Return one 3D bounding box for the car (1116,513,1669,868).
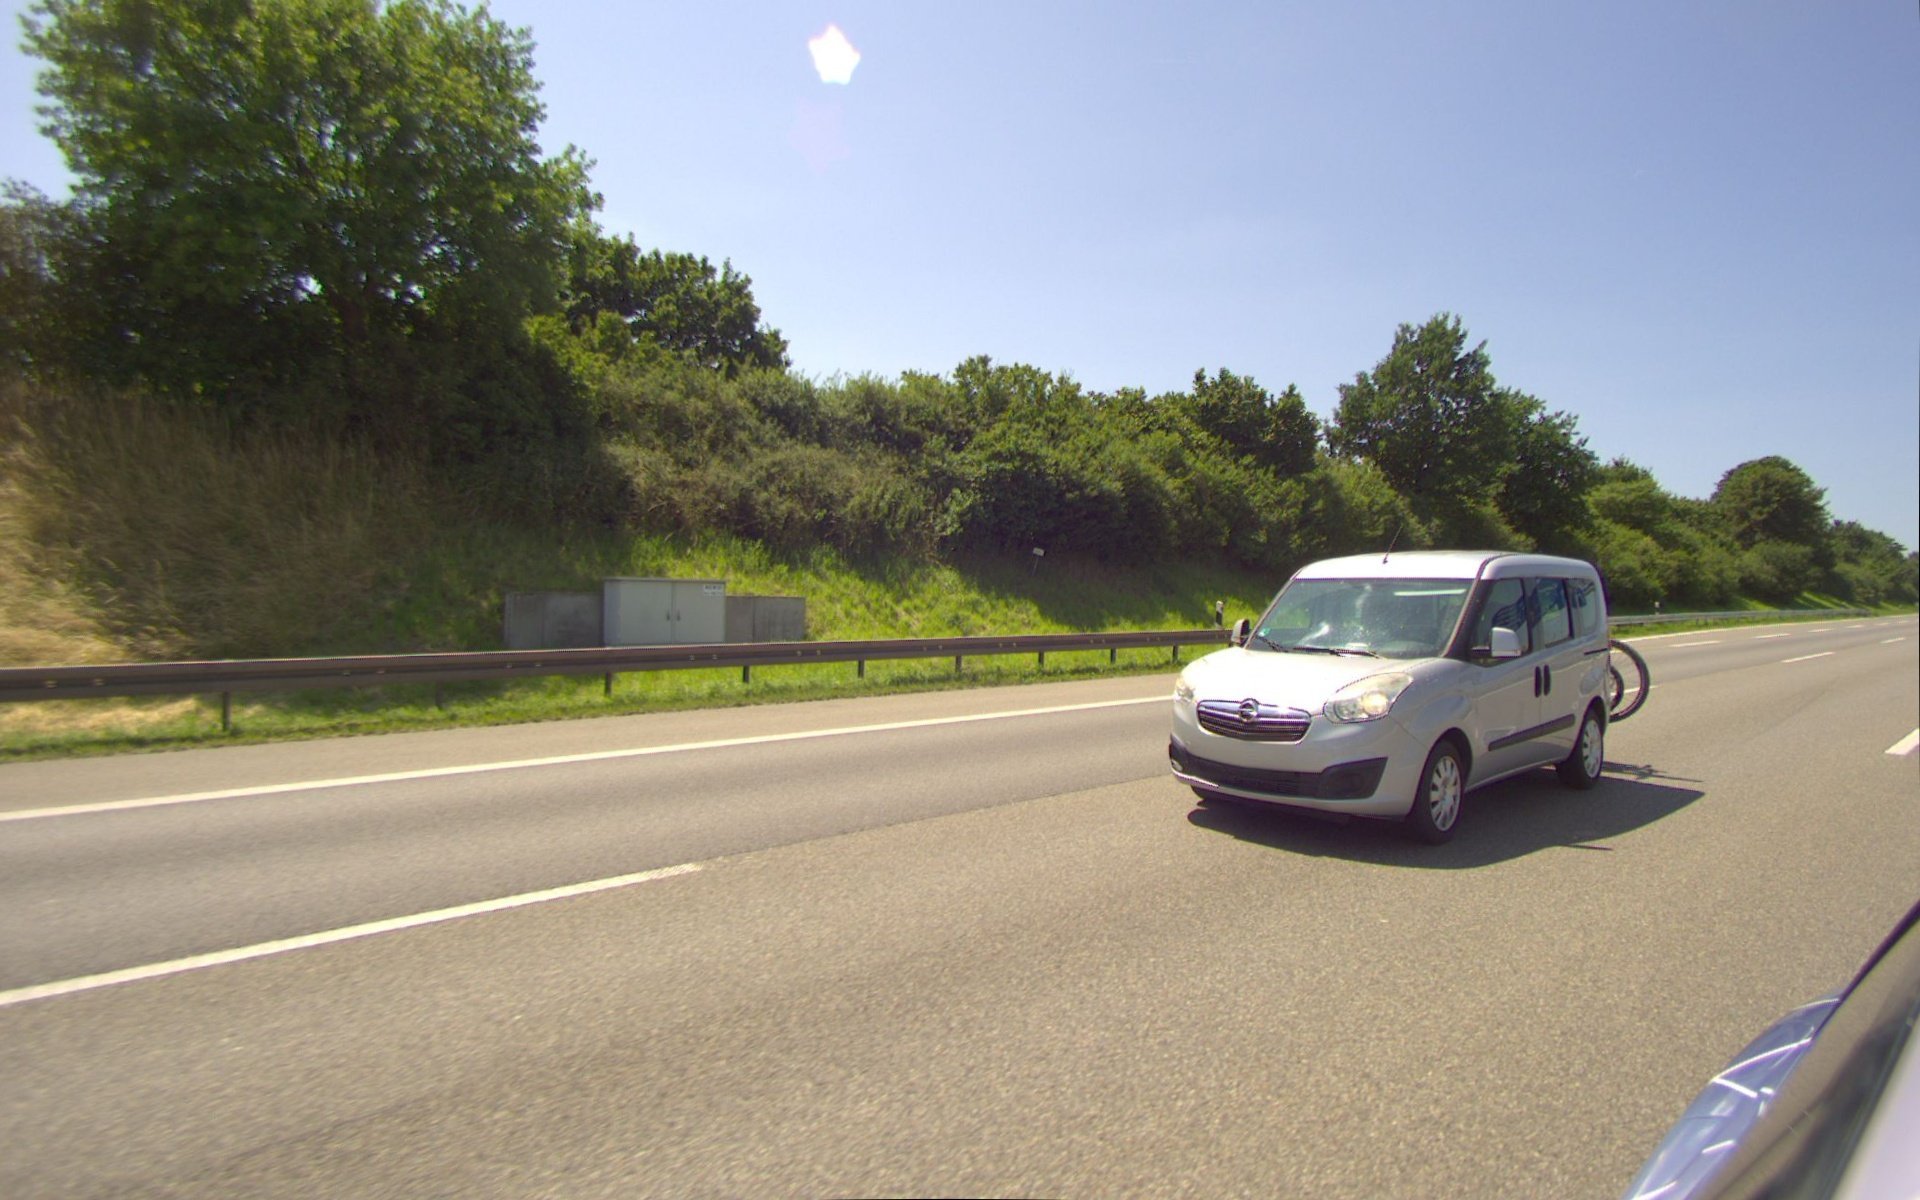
[{"bbox_3d":[3.587,0.460,7.740,5.219,1.870,1.810,0,0,-41],"label":"car"}]
